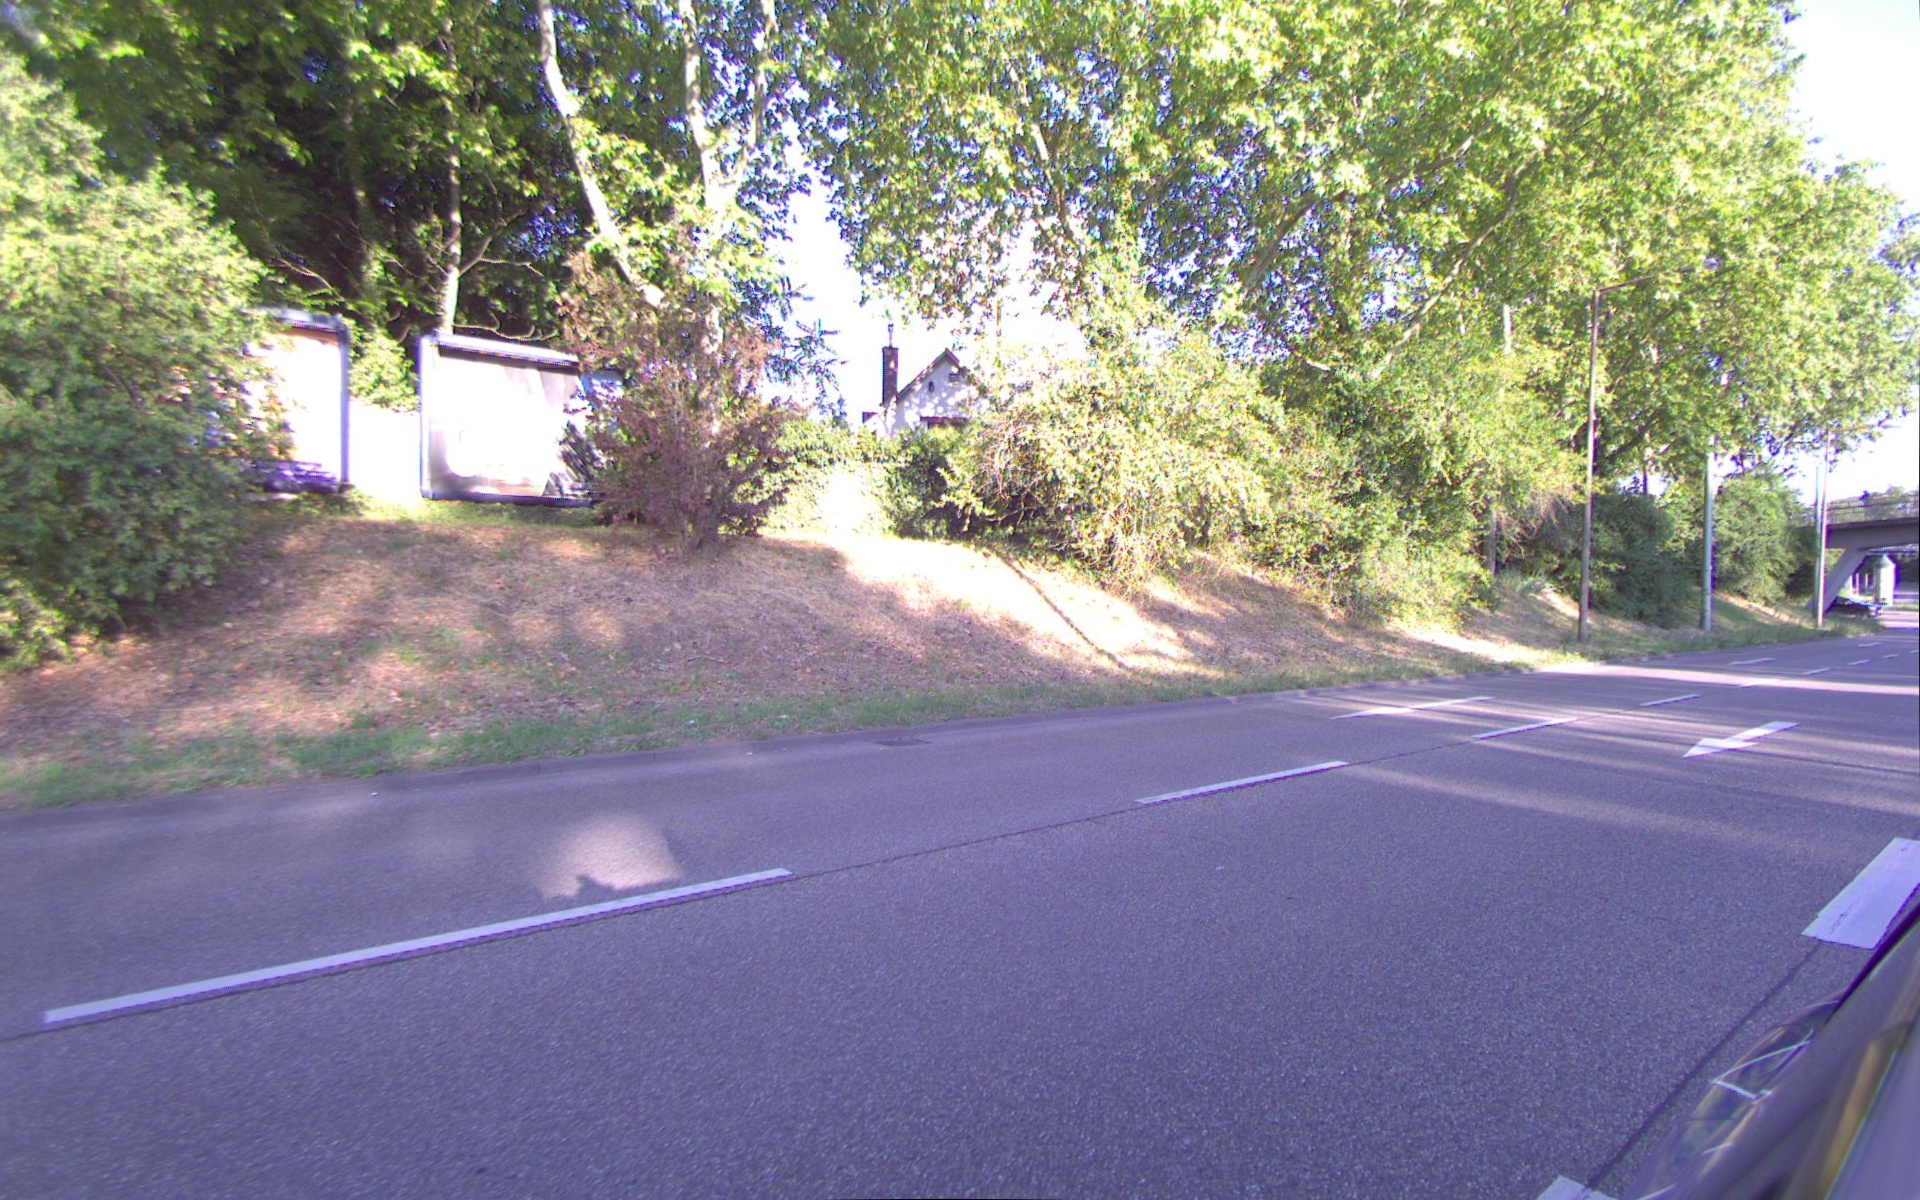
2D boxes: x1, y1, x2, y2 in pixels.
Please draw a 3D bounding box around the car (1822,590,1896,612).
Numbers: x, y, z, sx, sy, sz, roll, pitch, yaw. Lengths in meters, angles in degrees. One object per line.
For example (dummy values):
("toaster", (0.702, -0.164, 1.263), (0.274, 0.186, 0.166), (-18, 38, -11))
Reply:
("car", (70.139, 0.036, 79.020), (1.748, 1.676, 4.006), (-1, 1, -27))
